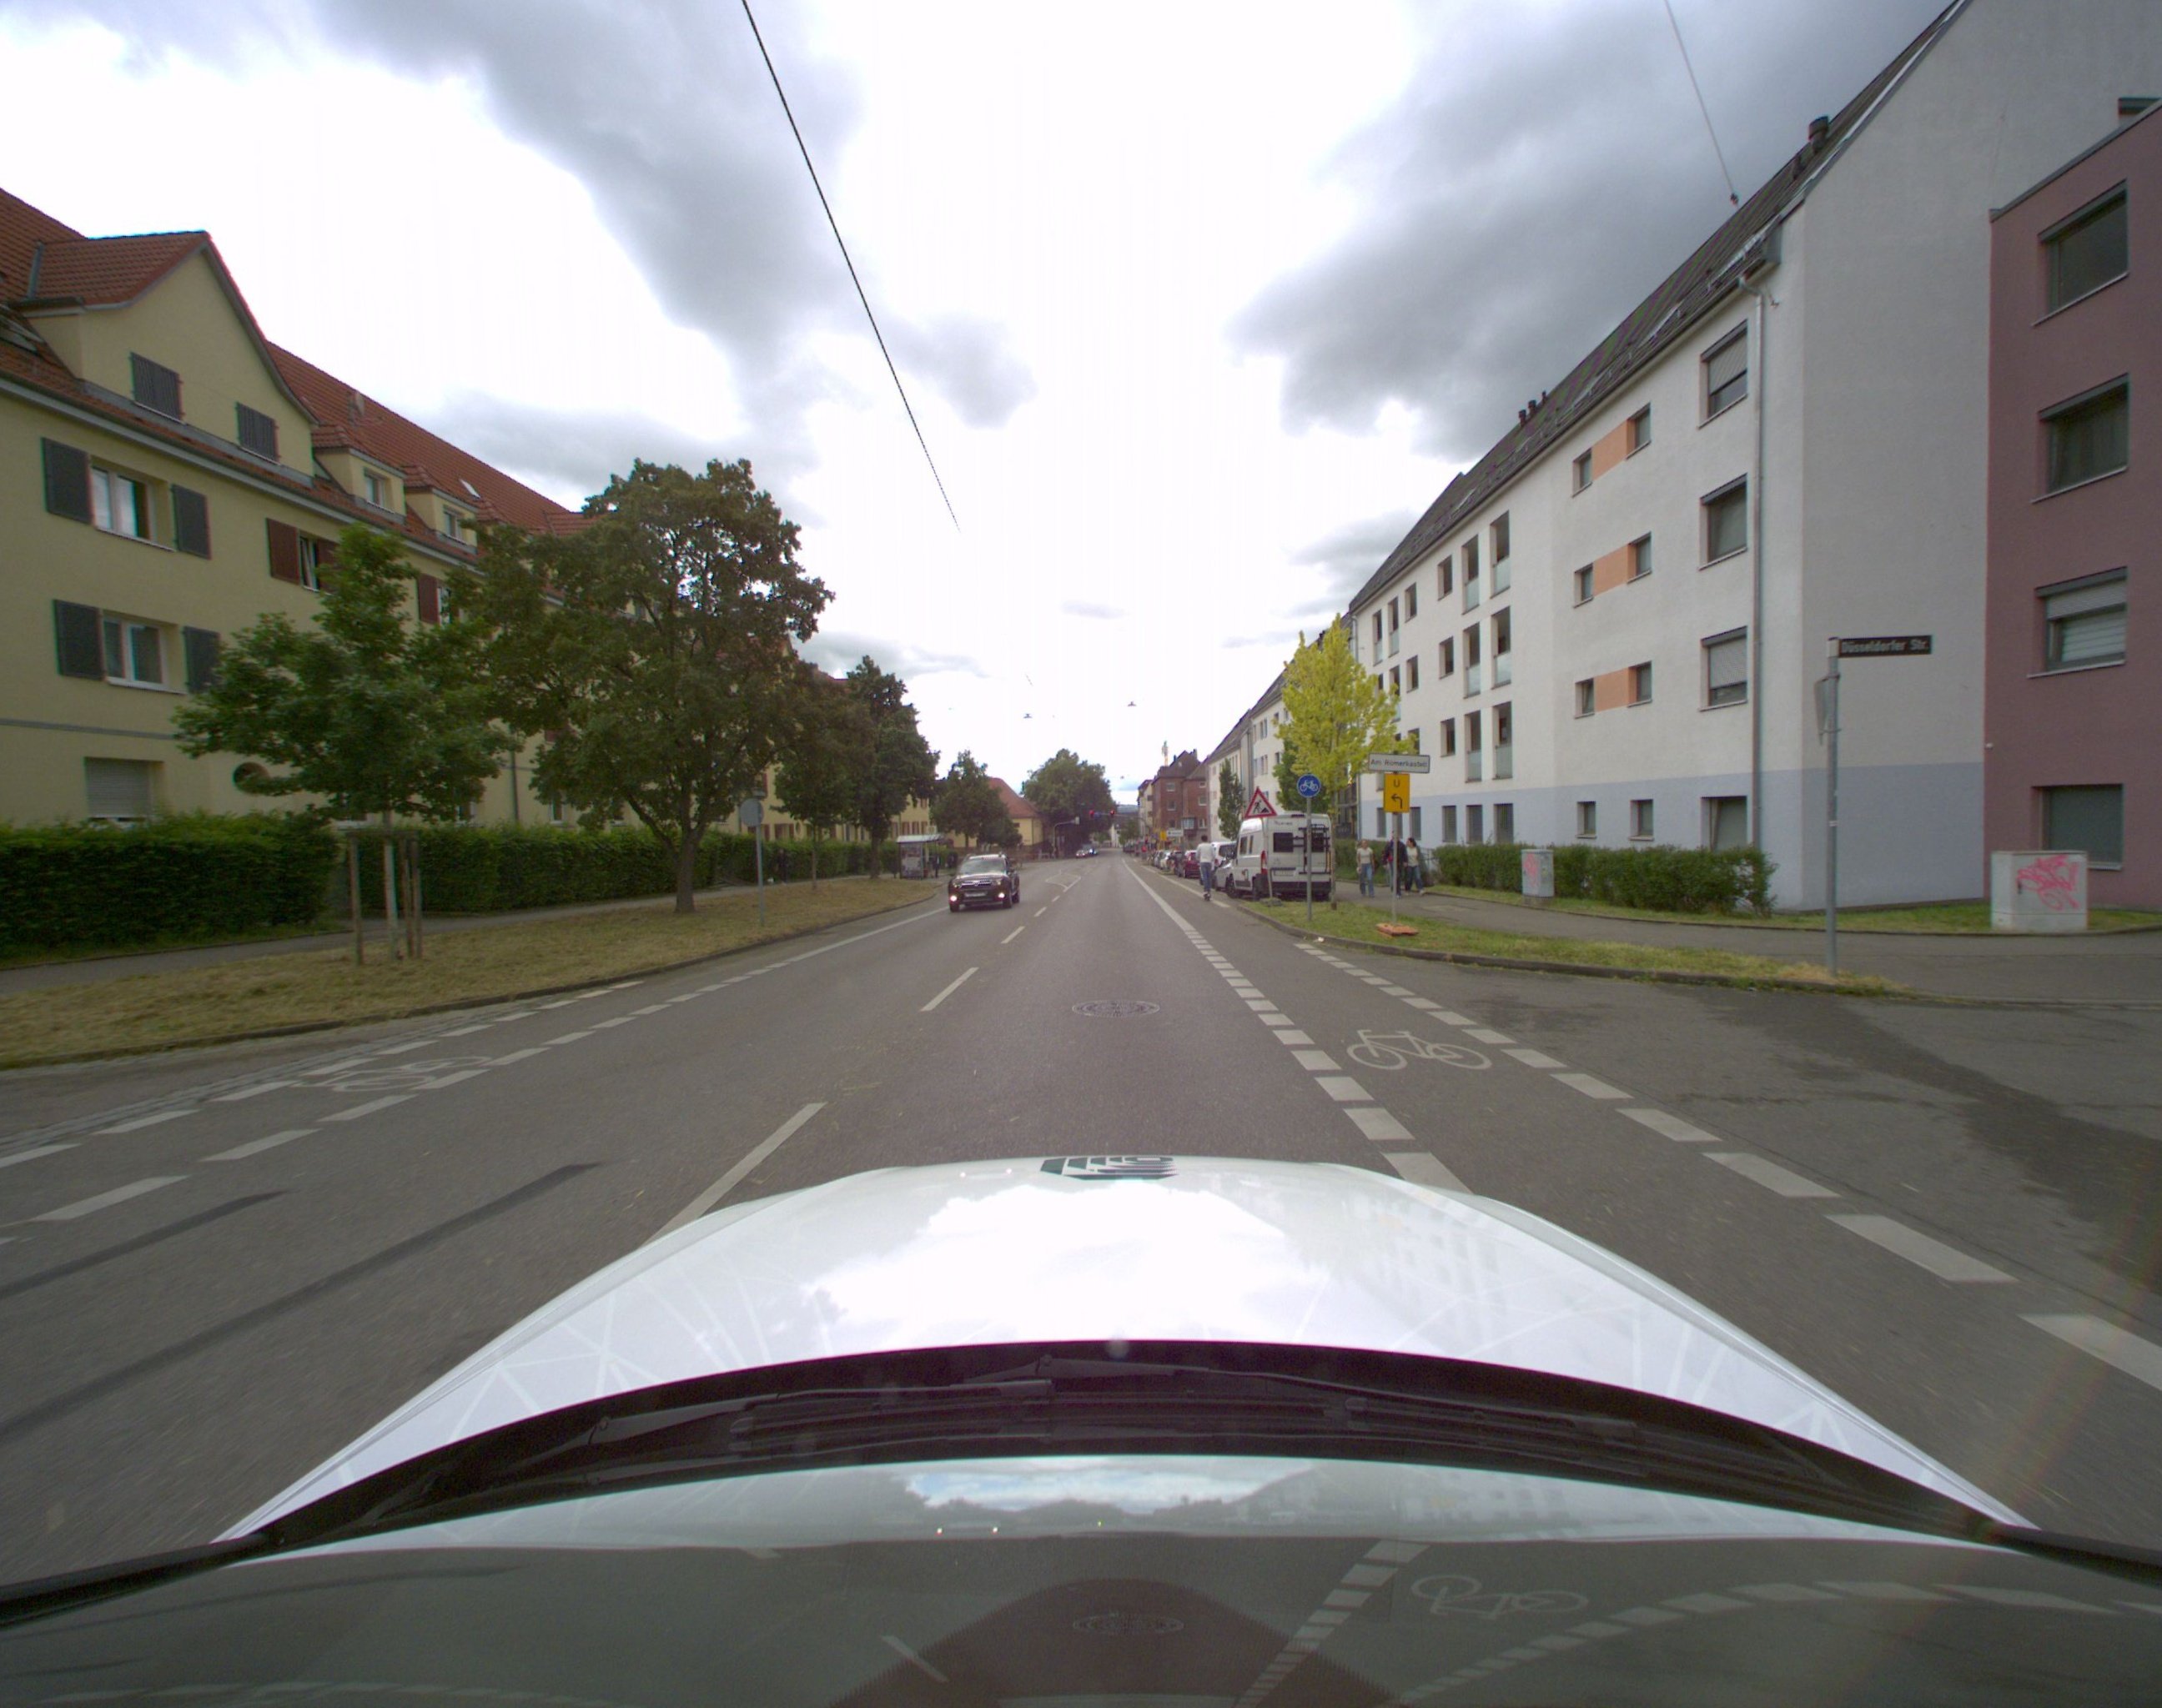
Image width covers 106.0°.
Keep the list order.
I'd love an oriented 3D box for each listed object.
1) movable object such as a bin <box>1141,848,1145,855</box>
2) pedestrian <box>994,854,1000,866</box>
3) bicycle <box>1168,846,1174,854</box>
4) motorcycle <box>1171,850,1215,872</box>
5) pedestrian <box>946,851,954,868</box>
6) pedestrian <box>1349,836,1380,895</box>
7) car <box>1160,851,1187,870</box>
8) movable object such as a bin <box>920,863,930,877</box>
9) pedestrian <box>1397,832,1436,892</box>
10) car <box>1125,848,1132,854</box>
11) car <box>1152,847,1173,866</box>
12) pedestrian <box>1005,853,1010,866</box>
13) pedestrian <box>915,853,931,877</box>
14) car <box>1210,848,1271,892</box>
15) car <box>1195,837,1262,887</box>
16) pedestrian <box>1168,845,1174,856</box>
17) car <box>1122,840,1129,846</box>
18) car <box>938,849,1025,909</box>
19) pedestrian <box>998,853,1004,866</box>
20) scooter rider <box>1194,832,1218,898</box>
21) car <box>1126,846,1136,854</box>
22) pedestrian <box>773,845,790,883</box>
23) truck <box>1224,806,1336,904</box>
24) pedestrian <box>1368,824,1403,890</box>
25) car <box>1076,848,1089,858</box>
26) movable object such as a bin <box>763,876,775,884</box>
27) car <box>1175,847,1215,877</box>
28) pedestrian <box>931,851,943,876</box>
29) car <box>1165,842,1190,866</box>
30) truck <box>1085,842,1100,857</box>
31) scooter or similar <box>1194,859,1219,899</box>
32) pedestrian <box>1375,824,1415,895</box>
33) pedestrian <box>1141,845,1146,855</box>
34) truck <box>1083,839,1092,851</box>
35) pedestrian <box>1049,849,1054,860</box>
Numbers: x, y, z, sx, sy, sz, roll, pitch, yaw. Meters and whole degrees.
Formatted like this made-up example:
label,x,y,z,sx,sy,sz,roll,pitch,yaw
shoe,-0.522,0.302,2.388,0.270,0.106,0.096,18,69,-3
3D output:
label,x,y,z,sx,sy,sz,roll,pitch,yaw
movable object such as a bin,10.592,-0.442,138.844,0.449,1.056,0.412,-1,0,22
pedestrian,-10.742,0.755,104.468,0.561,1.566,0.844,-1,0,7
bicycle,13.903,-0.694,125.559,0.757,1.193,2.393,-1,1,2
motorcycle,6.817,0.441,49.626,2.591,1.278,0.752,-1,0,-3
pedestrian,-12.951,0.550,80.693,0.638,1.619,0.618,-1,0,1
pedestrian,8.077,0.328,23.210,0.577,1.644,0.559,-2,-1,-12
car,7.420,0.500,65.542,1.724,1.413,4.500,0,1,1
movable object such as a bin,-10.234,1.054,53.417,0.534,0.845,0.665,0,0,3
pedestrian,9.309,0.217,22.605,0.656,1.605,0.574,-6,1,-8
car,12.611,-0.849,215.137,1.663,1.547,3.755,-1,1,-1
car,7.793,0.220,78.108,1.653,1.715,4.552,0,1,1
pedestrian,-10.014,0.785,110.367,0.561,1.777,0.717,-1,0,1
pedestrian,-10.432,0.719,53.759,0.896,1.509,0.807,0,0,2
car,5.736,0.549,29.633,1.520,1.485,3.726,0,1,0
car,6.183,0.281,34.759,1.986,1.944,5.213,-1,1,1
pedestrian,13.821,-0.536,124.781,0.785,1.656,0.773,-4,0,2
car,13.379,-3.318,244.156,1.663,1.547,3.755,-1,1,-1
car,-2.936,0.698,24.969,1.892,1.620,4.365,-1,1,3
pedestrian,-10.851,0.724,110.544,0.561,1.777,0.842,-1,0,2
scooter rider,3.867,0.328,25.226,0.623,2.013,0.758,-1,0,1
car,11.811,-0.946,191.592,1.987,1.935,4.917,-1,1,-1
pedestrian,-14.322,0.471,38.955,0.511,1.779,0.753,-1,0,1
truck,5.799,0.005,24.498,2.045,2.565,5.691,-1,1,1
pedestrian,8.889,0.096,23.774,0.671,1.886,0.617,-2,-1,-15
car,0.291,-0.139,132.051,1.748,1.472,4.313,-3,1,5
movable object such as a bin,-15.031,1.255,39.199,0.305,0.347,0.582,-1,1,7
car,6.426,0.419,46.275,1.675,1.544,4.339,-1,1,1
pedestrian,-9.862,0.642,55.905,0.594,1.726,0.862,-1,0,4
car,7.065,-0.024,60.086,1.624,1.650,4.362,0,2,4
truck,2.012,-0.804,141.650,2.288,2.427,6.409,-3,1,0
scooter or similar,3.875,0.752,25.229,0.489,1.163,2.075,-1,1,1
pedestrian,8.626,0.144,22.377,0.670,1.886,0.763,-2,-1,-10
pedestrian,10.689,-0.721,139.034,0.560,1.636,0.684,-1,0,22
truck,1.908,-2.608,228.109,2.223,3.346,7.452,-1,1,1
pedestrian,-4.850,0.132,132.492,0.671,1.765,0.727,-1,0,5
